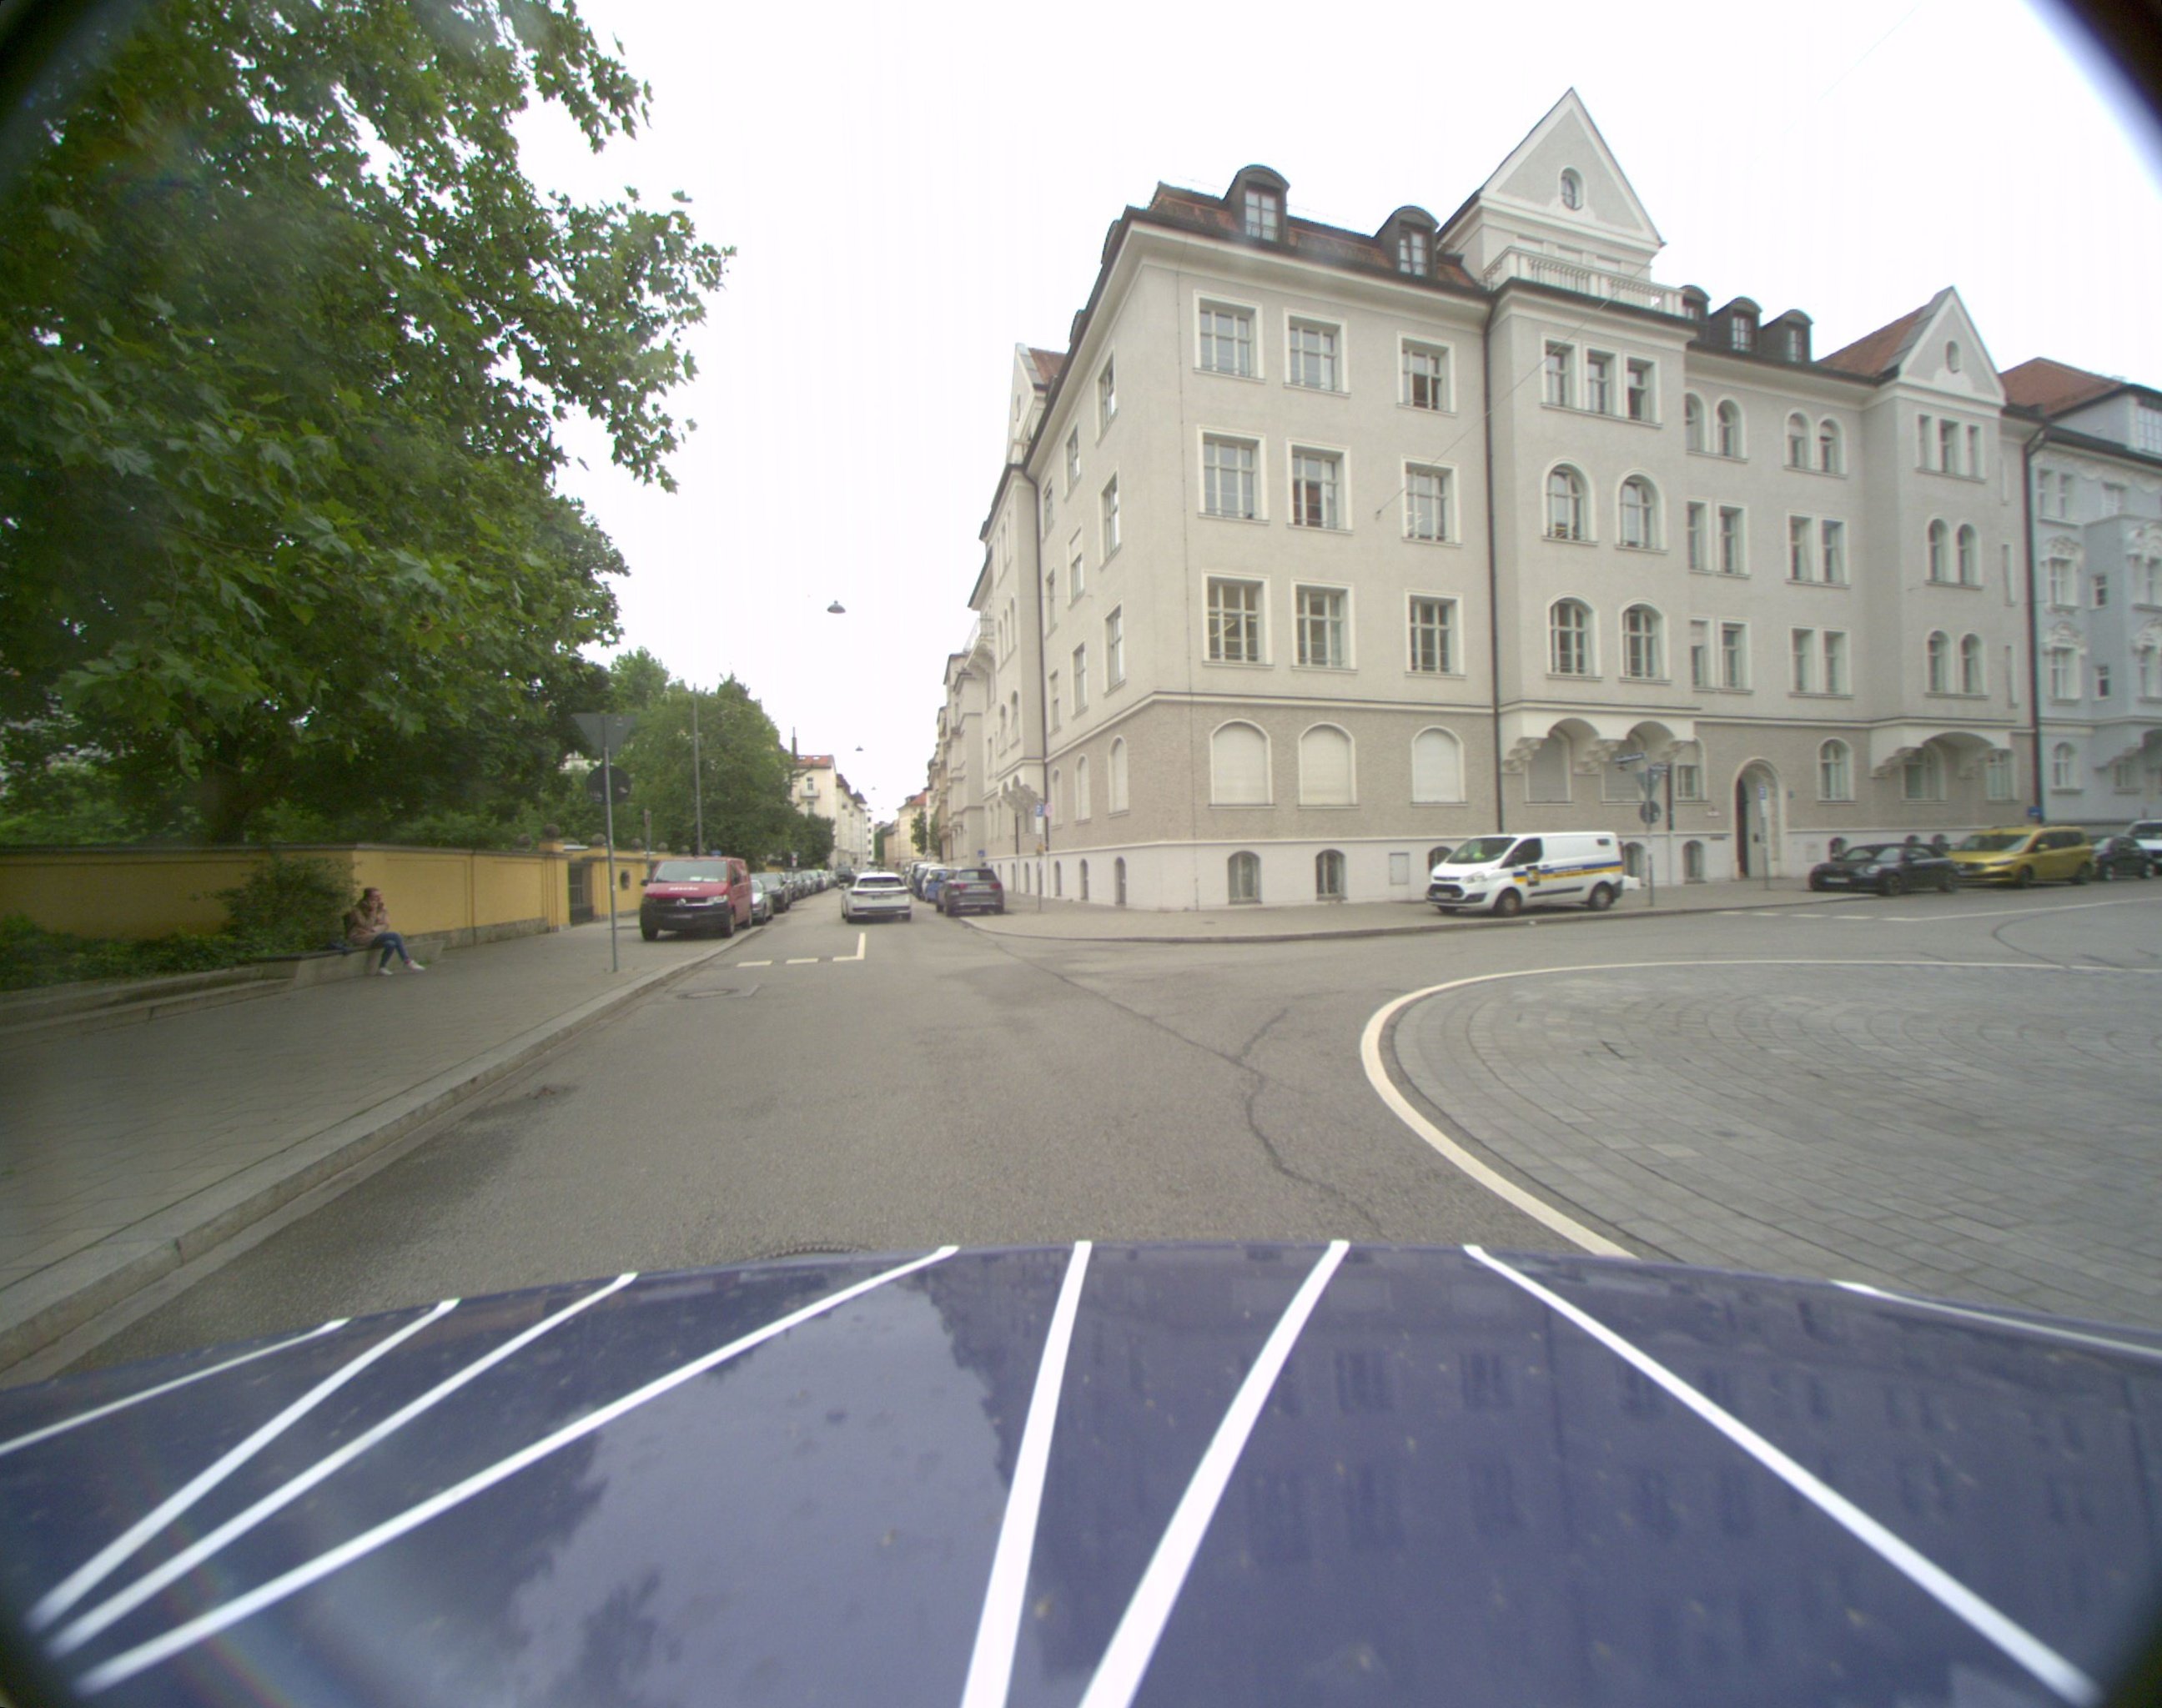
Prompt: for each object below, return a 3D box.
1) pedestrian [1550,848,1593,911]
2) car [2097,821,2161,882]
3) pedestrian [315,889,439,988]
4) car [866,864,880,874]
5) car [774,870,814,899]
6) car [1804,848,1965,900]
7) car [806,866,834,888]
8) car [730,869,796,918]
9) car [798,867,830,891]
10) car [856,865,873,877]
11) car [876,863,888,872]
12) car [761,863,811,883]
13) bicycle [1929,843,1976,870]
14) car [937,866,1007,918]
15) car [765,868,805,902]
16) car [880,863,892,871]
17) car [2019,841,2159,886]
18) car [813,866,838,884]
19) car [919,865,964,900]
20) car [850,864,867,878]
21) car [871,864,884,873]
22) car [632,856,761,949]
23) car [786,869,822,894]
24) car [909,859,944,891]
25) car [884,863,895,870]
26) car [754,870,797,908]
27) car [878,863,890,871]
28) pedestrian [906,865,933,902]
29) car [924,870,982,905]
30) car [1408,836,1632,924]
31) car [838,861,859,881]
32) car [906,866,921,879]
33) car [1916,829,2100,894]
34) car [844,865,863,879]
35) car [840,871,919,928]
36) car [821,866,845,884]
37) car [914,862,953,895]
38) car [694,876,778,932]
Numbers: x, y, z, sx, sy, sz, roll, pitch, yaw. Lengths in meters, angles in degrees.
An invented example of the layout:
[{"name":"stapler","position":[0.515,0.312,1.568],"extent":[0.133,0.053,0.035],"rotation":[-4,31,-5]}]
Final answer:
[{"name":"pedestrian","position":[13.170,0.668,20.400],"extent":[0.853,1.626,0.735],"rotation":[-1,0,39]},{"name":"car","position":[38.842,-0.116,26.926],"extent":[4.827,2.079,2.121],"rotation":[-1,0,-20]},{"name":"pedestrian","position":[-10.388,1.221,11.257],"extent":[1.013,1.330,0.876],"rotation":[-2,0,-12]},{"name":"car","position":[-37.299,2.748,136.361],"extent":[2.000,1.585,4.295],"rotation":[-5,0,-11]},{"name":"car","position":[-16.184,1.667,42.999],"extent":[1.698,1.406,4.031],"rotation":[-4,0,-16]},{"name":"car","position":[23.072,0.543,21.852],"extent":[3.682,1.338,1.695],"rotation":[-1,0,-17]},{"name":"car","position":[-20.149,1.722,58.802],"extent":[1.719,1.561,4.314],"rotation":[-1,0,-15]},{"name":"car","position":[-12.527,1.493,30.216],"extent":[1.892,1.643,4.817],"rotation":[-3,0,-17]},{"name":"car","position":[-18.831,1.729,53.685],"extent":[1.719,1.561,4.685],"rotation":[-1,0,-15]},{"name":"car","position":[-31.950,2.454,112.112],"extent":[2.000,1.585,4.295],"rotation":[-5,0,-11]},{"name":"car","position":[-42.183,2.884,161.336],"extent":[2.000,1.672,4.295],"rotation":[-5,0,-10]},{"name":"car","position":[-30.842,2.013,79.578],"extent":[4.684,1.860,1.740],"rotation":[-1,-3,-19]},{"name":"bicycle","position":[34.474,0.095,30.048],"extent":[1.831,1.043,0.491],"rotation":[-1,0,-16]},{"name":"car","position":[-3.824,1.223,26.141],"extent":[1.753,1.592,4.490],"rotation":[0,-1,-16]},{"name":"car","position":[-15.197,1.581,39.127],"extent":[1.513,1.557,2.866],"rotation":[-4,0,-14]},{"name":"car","position":[-43.914,2.842,171.503],"extent":[2.000,1.585,4.296],"rotation":[-5,0,-8]},{"name":"car","position":[33.103,0.293,24.967],"extent":[3.541,1.338,1.695],"rotation":[-1,0,-18]},{"name":"car","position":[-21.261,1.736,63.393],"extent":[1.719,1.445,4.178],"rotation":[-1,0,-15]},{"name":"car","position":[-7.021,1.374,37.838],"extent":[1.753,1.592,4.490],"rotation":[0,-1,-16]},{"name":"car","position":[-29.314,2.219,100.204],"extent":[2.001,1.585,4.294],"rotation":[-5,0,-14]},{"name":"car","position":[-39.377,2.798,146.879],"extent":[2.000,1.585,4.295],"rotation":[-5,0,-11]},{"name":"car","position":[-9.324,1.066,18.844],"extent":[1.881,1.909,4.881],"rotation":[-3,0,-16]},{"name":"car","position":[-17.386,1.691,47.834],"extent":[1.698,1.406,4.510],"rotation":[-1,0,-14]},{"name":"car","position":[-10.106,1.321,49.384],"extent":[1.863,1.927,4.951],"rotation":[0,0,-16]},{"name":"car","position":[-45.381,2.965,180.251],"extent":[1.999,1.585,4.296],"rotation":[-5,0,-7]},{"name":"car","position":[-13.951,1.545,34.881],"extent":[1.490,1.530,3.687],"rotation":[-3,0,-18]},{"name":"car","position":[-43.177,2.940,166.677],"extent":[2.000,1.585,4.424],"rotation":[-5,0,-10]},{"name":"pedestrian","position":[-7.787,1.411,36.603],"extent":[0.875,1.745,0.965],"rotation":[-2,0,16]},{"name":"car","position":[-5.672,1.410,33.358],"extent":[1.699,1.406,3.656],"rotation":[0,-1,-23]},{"name":"car","position":[10.690,0.575,18.535],"extent":[4.915,1.869,1.922],"rotation":[-2,0,-18]},{"name":"car","position":[-26.098,1.902,85.424],"extent":[2.001,1.949,4.428],"rotation":[-5,0,-15]},{"name":"car","position":[-19.337,2.095,87.684],"extent":[1.628,1.421,3.937],"rotation":[0,0,-12]},{"name":"car","position":[28.314,0.211,23.244],"extent":[4.138,1.828,2.025],"rotation":[-1,0,-15]},{"name":"car","position":[-28.461,2.242,95.317],"extent":[2.001,1.643,4.443],"rotation":[-5,0,-15]},{"name":"car","position":[-6.273,1.290,23.283],"extent":[1.892,1.440,4.883],"rotation":[-2,0,-19]},{"name":"car","position":[-22.180,1.873,68.052],"extent":[1.719,1.445,4.949],"rotation":[-1,0,-15]},{"name":"car","position":[-8.488,1.342,43.446],"extent":[1.753,1.777,5.030],"rotation":[0,0,-16]},{"name":"car","position":[-10.933,1.521,24.338],"extent":[1.892,1.440,4.362],"rotation":[-3,0,-18]}]
